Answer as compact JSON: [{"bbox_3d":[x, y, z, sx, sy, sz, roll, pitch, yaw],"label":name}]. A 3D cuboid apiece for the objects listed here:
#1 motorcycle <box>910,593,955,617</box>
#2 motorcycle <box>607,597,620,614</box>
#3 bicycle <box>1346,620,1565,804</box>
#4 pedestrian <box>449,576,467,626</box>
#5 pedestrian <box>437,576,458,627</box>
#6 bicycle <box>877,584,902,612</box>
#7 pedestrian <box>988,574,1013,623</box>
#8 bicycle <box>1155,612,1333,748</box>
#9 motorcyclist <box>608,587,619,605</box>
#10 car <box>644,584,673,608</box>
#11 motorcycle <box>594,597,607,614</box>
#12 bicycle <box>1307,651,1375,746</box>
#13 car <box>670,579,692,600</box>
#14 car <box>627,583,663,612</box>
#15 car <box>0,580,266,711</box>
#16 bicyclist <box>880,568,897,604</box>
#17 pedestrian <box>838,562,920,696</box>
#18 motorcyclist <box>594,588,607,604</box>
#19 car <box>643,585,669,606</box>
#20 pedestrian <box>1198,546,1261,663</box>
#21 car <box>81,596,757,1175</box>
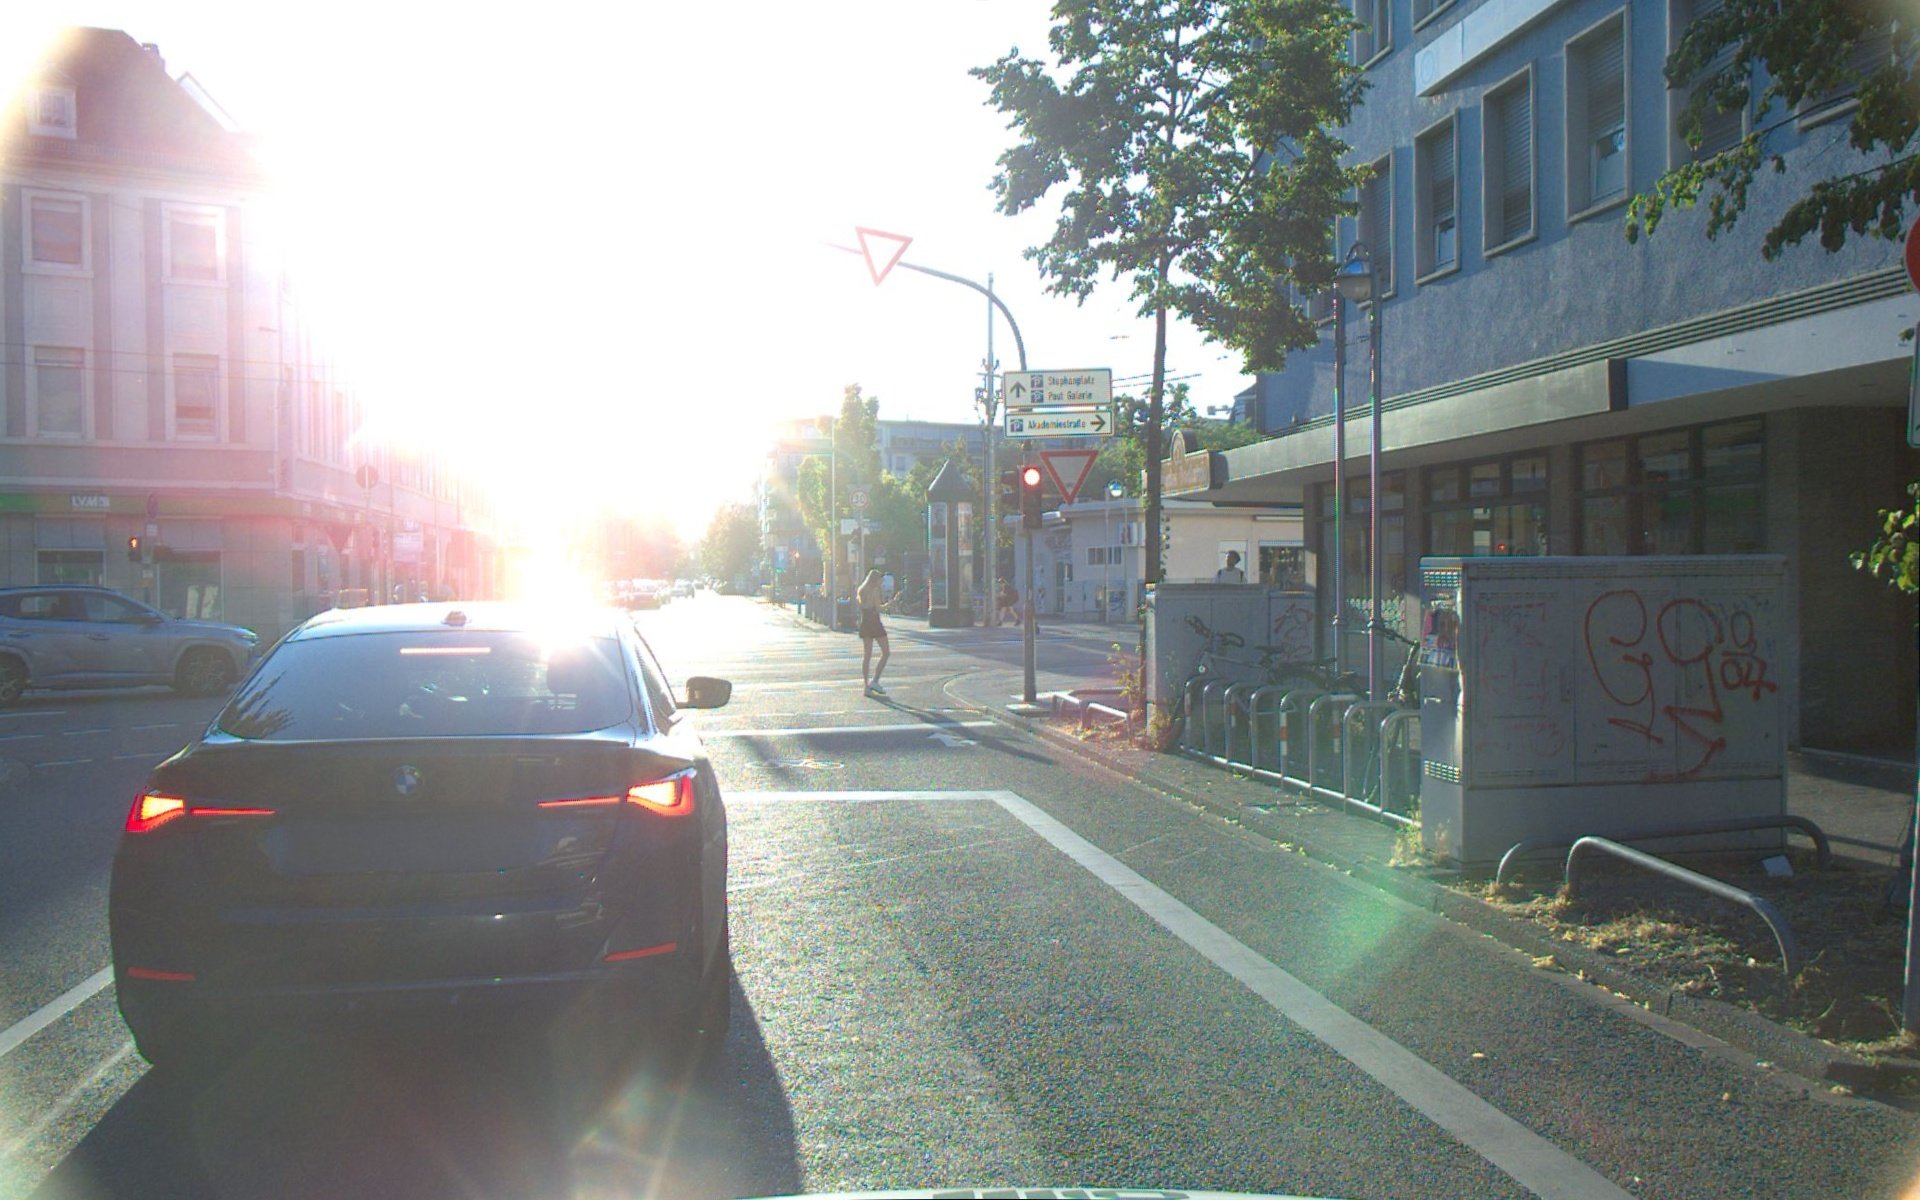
[{"bbox_3d":[-1.140,0.216,67.848,1.644,0.955,0.851,-1,1,-20],"label":"motorcycle"},{"bbox_3d":[-19.577,0.321,93.447,0.564,0.931,2.196,1,0,-8],"label":"motorcycle"},{"bbox_3d":[3.434,0.774,11.487,1.413,1.241,0.383,1,0,-8],"label":"bicycle"},{"bbox_3d":[-19.408,0.045,63.961,0.605,1.909,0.676,1,0,-13],"label":"pedestrian"},{"bbox_3d":[-19.430,0.050,62.684,0.631,1.909,0.630,1,0,-9],"label":"pedestrian"},{"bbox_3d":[-2.956,-0.085,69.348,0.541,1.179,2.134,1,0,-17],"label":"bicycle"},{"bbox_3d":[1.324,-0.052,53.511,0.717,1.555,0.473,1,0,10],"label":"pedestrian"},{"bbox_3d":[2.604,0.723,15.178,1.582,1.191,0.318,-1,0,-7],"label":"bicycle"},{"bbox_3d":[-19.551,-0.219,93.348,0.564,1.013,0.701,1,0,-9],"label":"motorcyclist"},{"bbox_3d":[-20.522,-0.271,112.620,1.784,1.545,3.992,-1,1,-9],"label":"car"},{"bbox_3d":[-20.389,0.305,93.826,0.564,0.931,2.196,1,0,-8],"label":"motorcycle"},{"bbox_3d":[3.539,0.901,15.402,0.244,0.810,1.114,1,0,-7],"label":"bicycle"},{"bbox_3d":[-25.590,-0.998,151.604,1.737,1.881,3.995,-1,1,-6],"label":"car"},{"bbox_3d":[-17.923,-0.152,94.223,1.784,1.545,3.992,-1,1,-9],"label":"car"},{"bbox_3d":[-12.496,0.602,23.968,4.242,1.737,1.784,-1,1,-35],"label":"car"},{"bbox_3d":[-2.988,-0.582,69.476,0.541,1.507,0.719,1,0,-17],"label":"bicyclist"},{"bbox_3d":[-1.165,0.409,23.789,0.990,1.893,0.634,1,0,-29],"label":"pedestrian"},{"bbox_3d":[-20.380,-0.235,93.818,0.564,0.931,2.196,1,0,-8],"label":"motorcyclist"},{"bbox_3d":[-22.602,-0.361,123.071,1.784,1.545,3.992,-1,1,-9],"label":"car"},{"bbox_3d":[4.404,0.073,27.029,0.820,1.874,0.677,-1,0,-9],"label":"pedestrian"},{"bbox_3d":[-1.749,0.725,6.447,1.705,1.453,4.214,0,0,-10],"label":"car"}]
